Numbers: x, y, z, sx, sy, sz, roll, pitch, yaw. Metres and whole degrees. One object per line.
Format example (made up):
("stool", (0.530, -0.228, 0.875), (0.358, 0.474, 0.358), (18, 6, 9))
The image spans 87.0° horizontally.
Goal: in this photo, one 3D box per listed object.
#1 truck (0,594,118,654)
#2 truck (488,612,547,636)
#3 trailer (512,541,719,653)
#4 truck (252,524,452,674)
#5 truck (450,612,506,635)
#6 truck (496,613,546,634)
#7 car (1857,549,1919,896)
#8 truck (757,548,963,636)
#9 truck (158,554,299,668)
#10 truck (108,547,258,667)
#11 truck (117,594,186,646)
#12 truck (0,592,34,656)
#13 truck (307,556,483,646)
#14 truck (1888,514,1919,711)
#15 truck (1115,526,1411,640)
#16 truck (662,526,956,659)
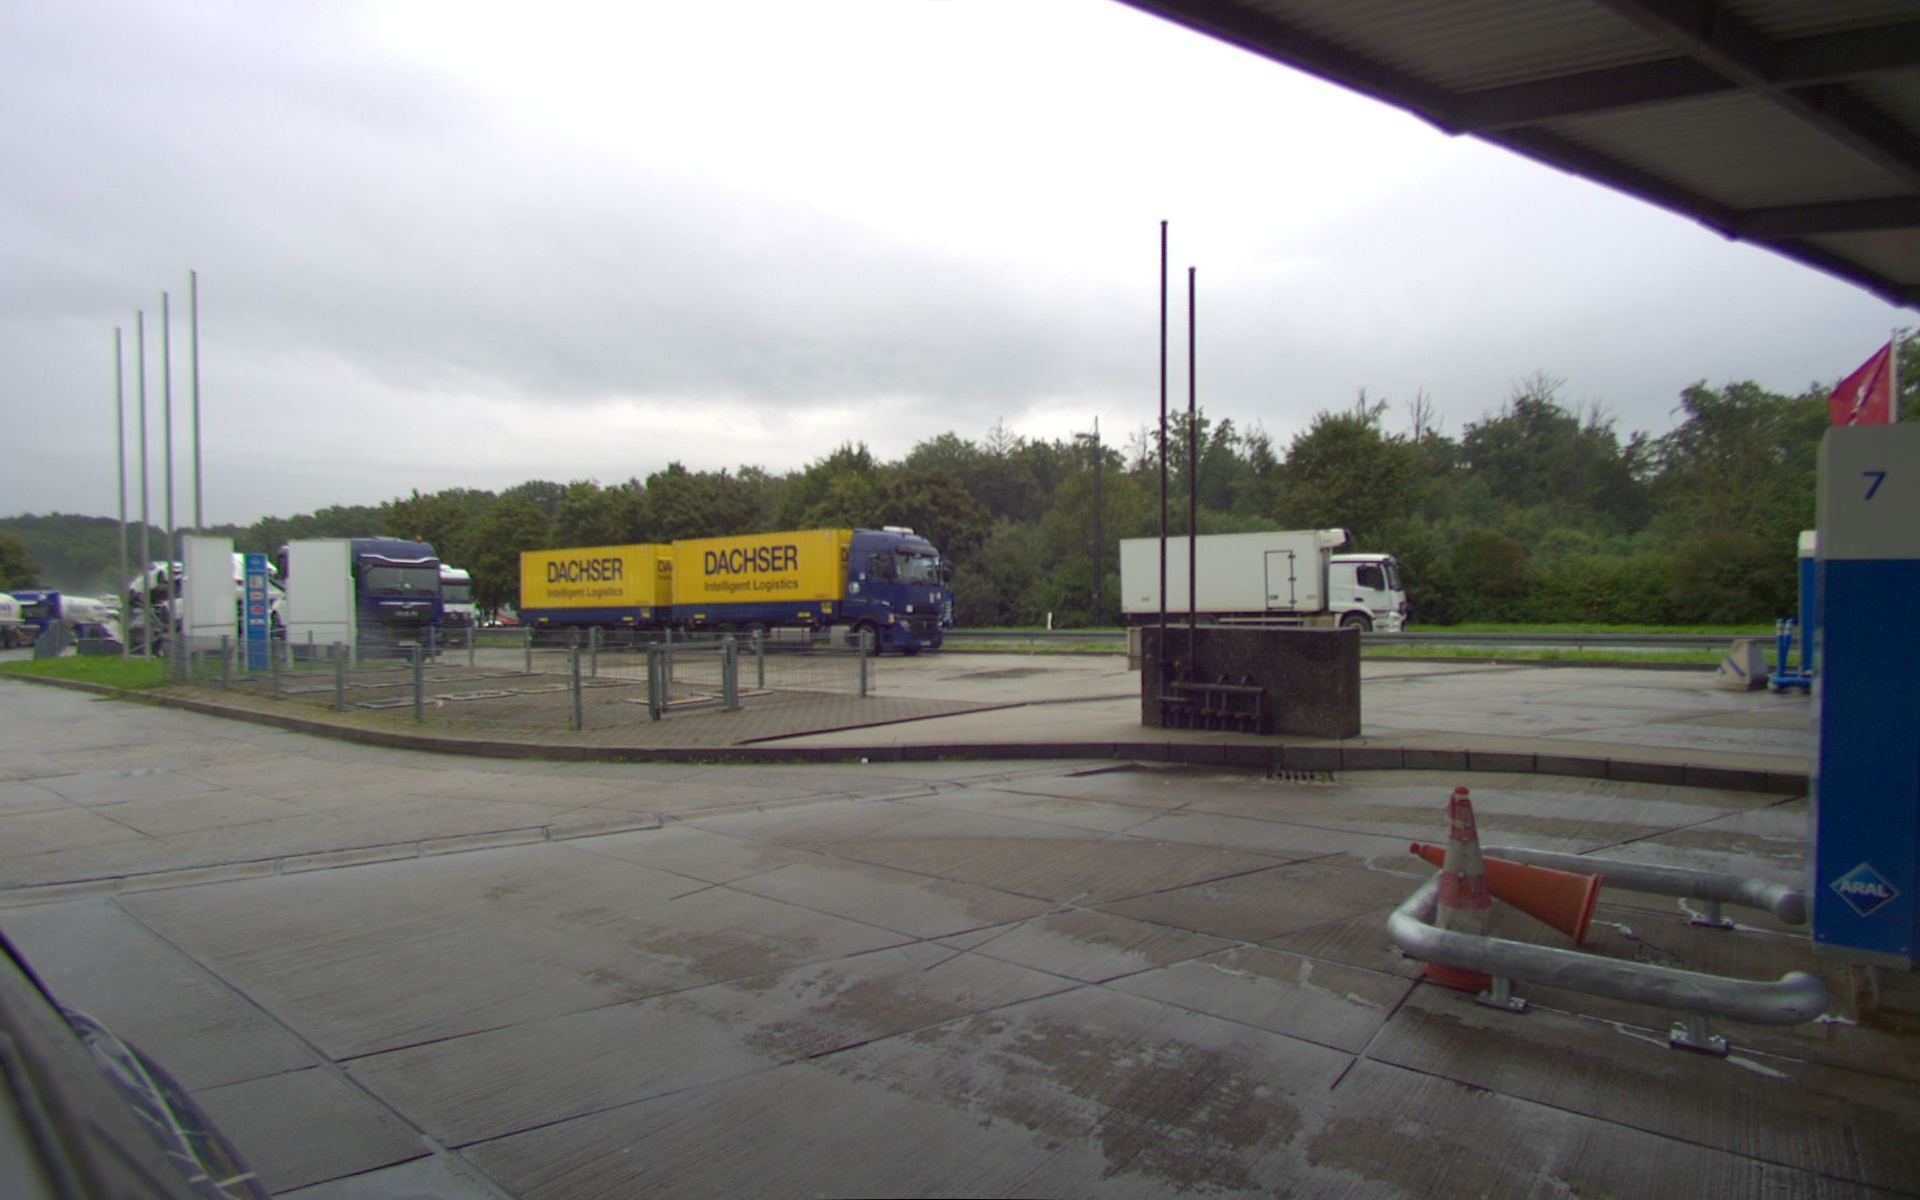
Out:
("truck", (-61.481, 1.623, 68.657), (3.454, 3.633, 14.709), (-1, -1, -27))
("truck", (-41.173, 2.211, 94.146), (5.810, 2.140, 2.061), (-1, 0, 31))
("trailer", (-13.487, -0.073, 39.255), (8.679, 3.946, 2.728), (-1, 0, 32))
("truck", (-18.998, 0.011, 31.475), (7.089, 4.213, 2.635), (-1, 0, 35))
("truck", (-46.700, 2.282, 97.992), (5.810, 2.140, 2.061), (-1, 0, 31))
("truck", (-43.488, 2.310, 100.120), (4.913, 2.029, 1.980), (-1, 0, 29))
("car", (6.919, 0.542, 3.796), (5.269, 1.620, 1.842), (-1, 0, 41))
("truck", (-4.867, -0.314, 47.640), (10.195, 3.836, 2.395), (-1, 0, 31))
("truck", (-26.095, 0.396, 36.072), (4.738, 3.800, 2.635), (-1, 0, 34))
("truck", (-29.577, 0.299, 38.445), (6.605, 4.213, 2.635), (-1, 0, 35))
("truck", (-69.378, 1.639, 86.733), (11.525, 4.160, 3.101), (-1, 0, 44))
("truck", (-55.143, 1.340, 53.689), (3.454, 3.633, 14.444), (-1, -1, -19))
("truck", (-27.306, 0.104, 48.626), (10.654, 3.946, 2.727), (-1, 0, 33))
("truck", (15.003, 0.124, 11.950), (5.859, 2.513, 2.208), (-1, 0, 41))
("truck", (10.981, -0.518, 37.444), (10.195, 3.836, 2.395), (-1, 0, 31))
("truck", (-5.325, -0.178, 34.025), (10.654, 3.946, 2.727), (-1, 0, 33))
